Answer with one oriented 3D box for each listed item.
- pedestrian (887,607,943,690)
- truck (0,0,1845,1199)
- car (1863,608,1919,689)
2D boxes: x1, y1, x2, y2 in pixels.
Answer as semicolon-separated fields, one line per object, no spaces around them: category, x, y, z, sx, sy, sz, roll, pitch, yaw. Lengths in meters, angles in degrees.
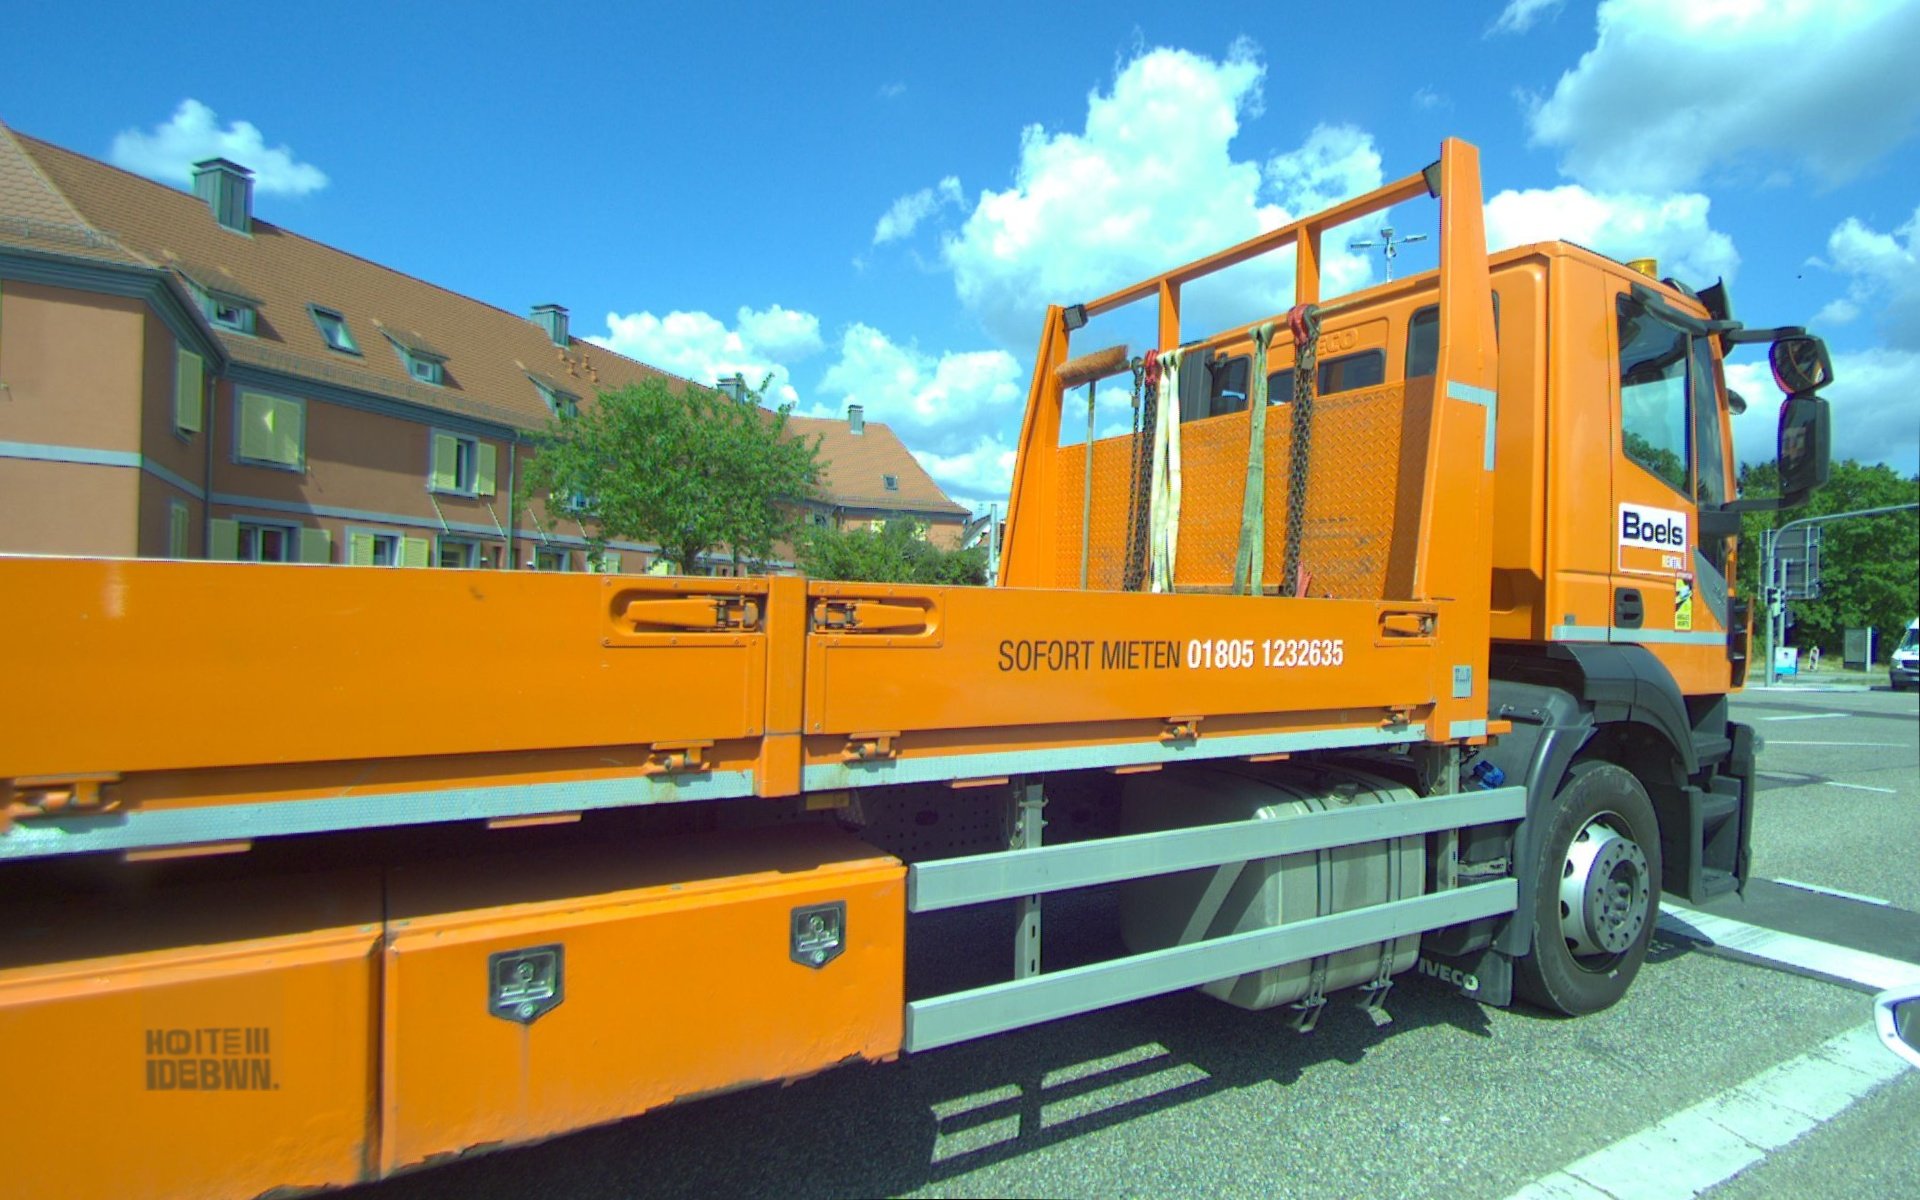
pedestrian;-0.918;0.979;20.422;0.842;1.604;0.692;2;1;-32
truck;-1.754;-0.395;2.825;10.941;3.459;3.055;3;1;-31
car;32.867;1.681;33.353;5.889;2.504;2.166;3;1;-26
